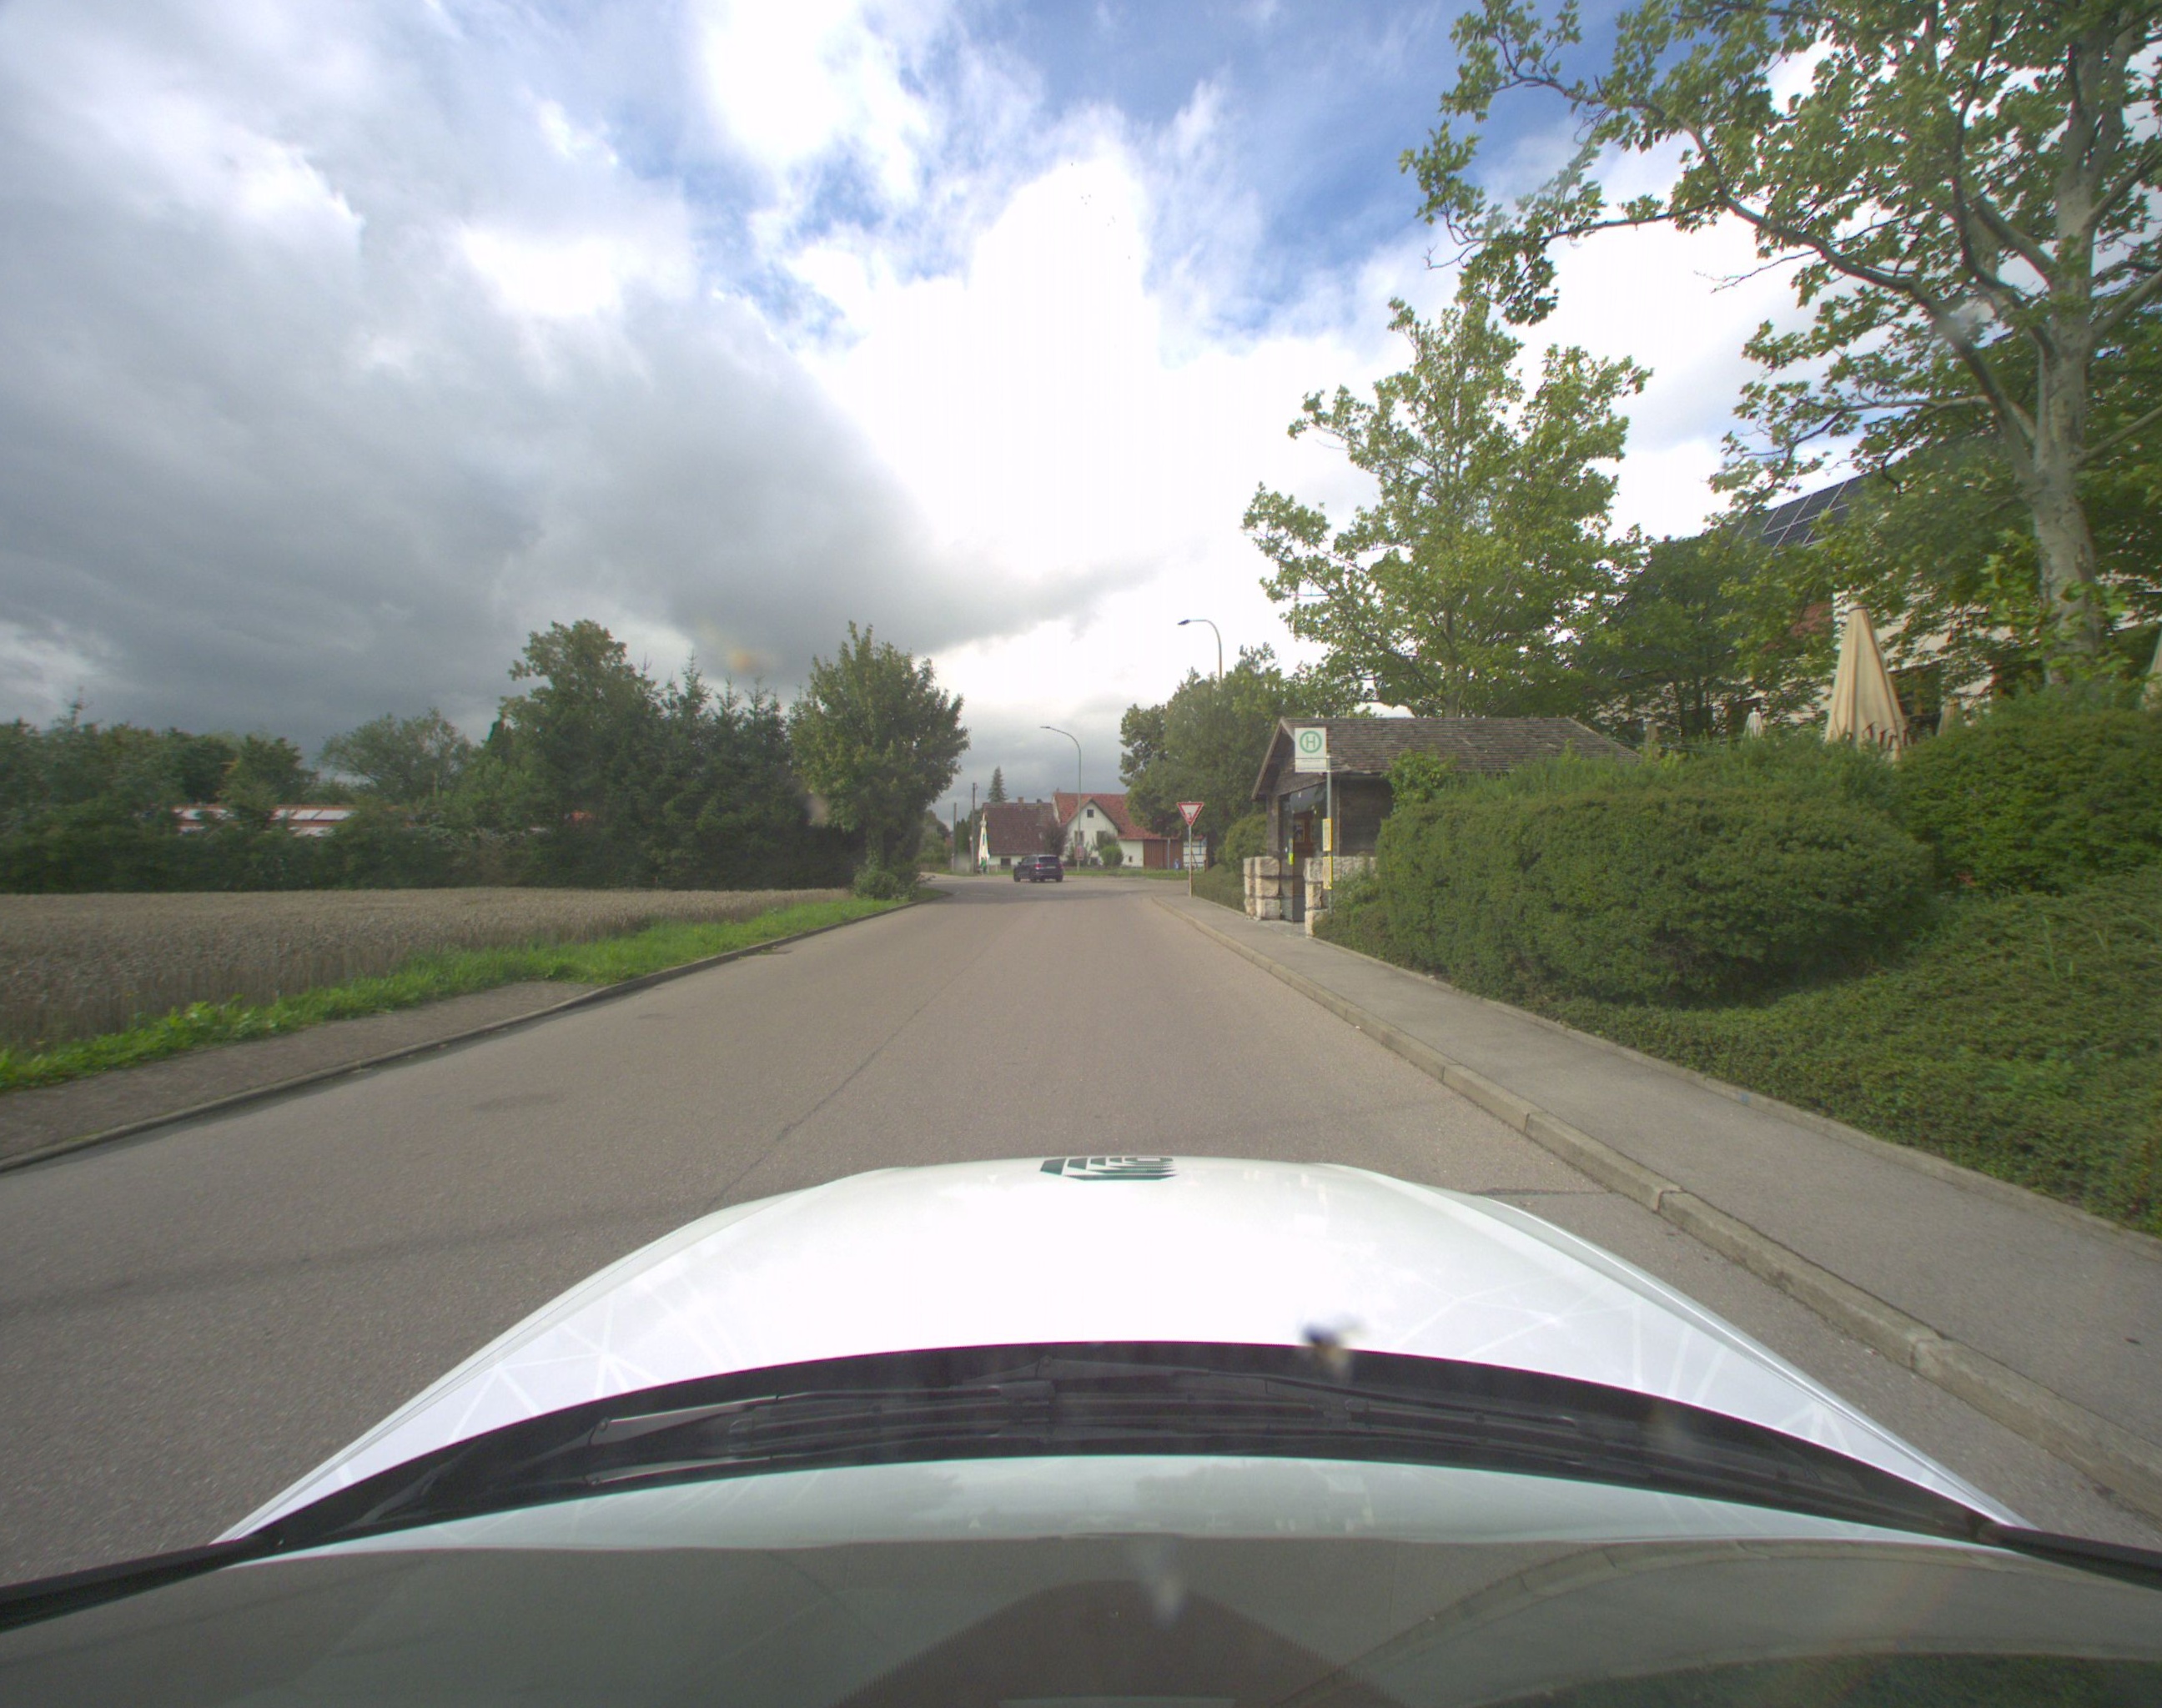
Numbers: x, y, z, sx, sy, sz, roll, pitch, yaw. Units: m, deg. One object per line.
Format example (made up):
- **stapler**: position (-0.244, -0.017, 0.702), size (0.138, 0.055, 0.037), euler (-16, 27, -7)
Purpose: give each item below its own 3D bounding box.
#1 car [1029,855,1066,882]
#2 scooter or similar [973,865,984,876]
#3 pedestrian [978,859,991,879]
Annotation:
- **car**: position (-1.892, 0.808, 46.465), size (1.791, 1.462, 3.664), euler (0, 0, 2)
- **scooter or similar**: position (-8.626, 1.380, 68.445), size (0.635, 0.948, 0.616), euler (5, -3, -32)
- **pedestrian**: position (-8.070, 1.254, 67.960), size (0.794, 1.665, 0.705), euler (5, -3, -32)
